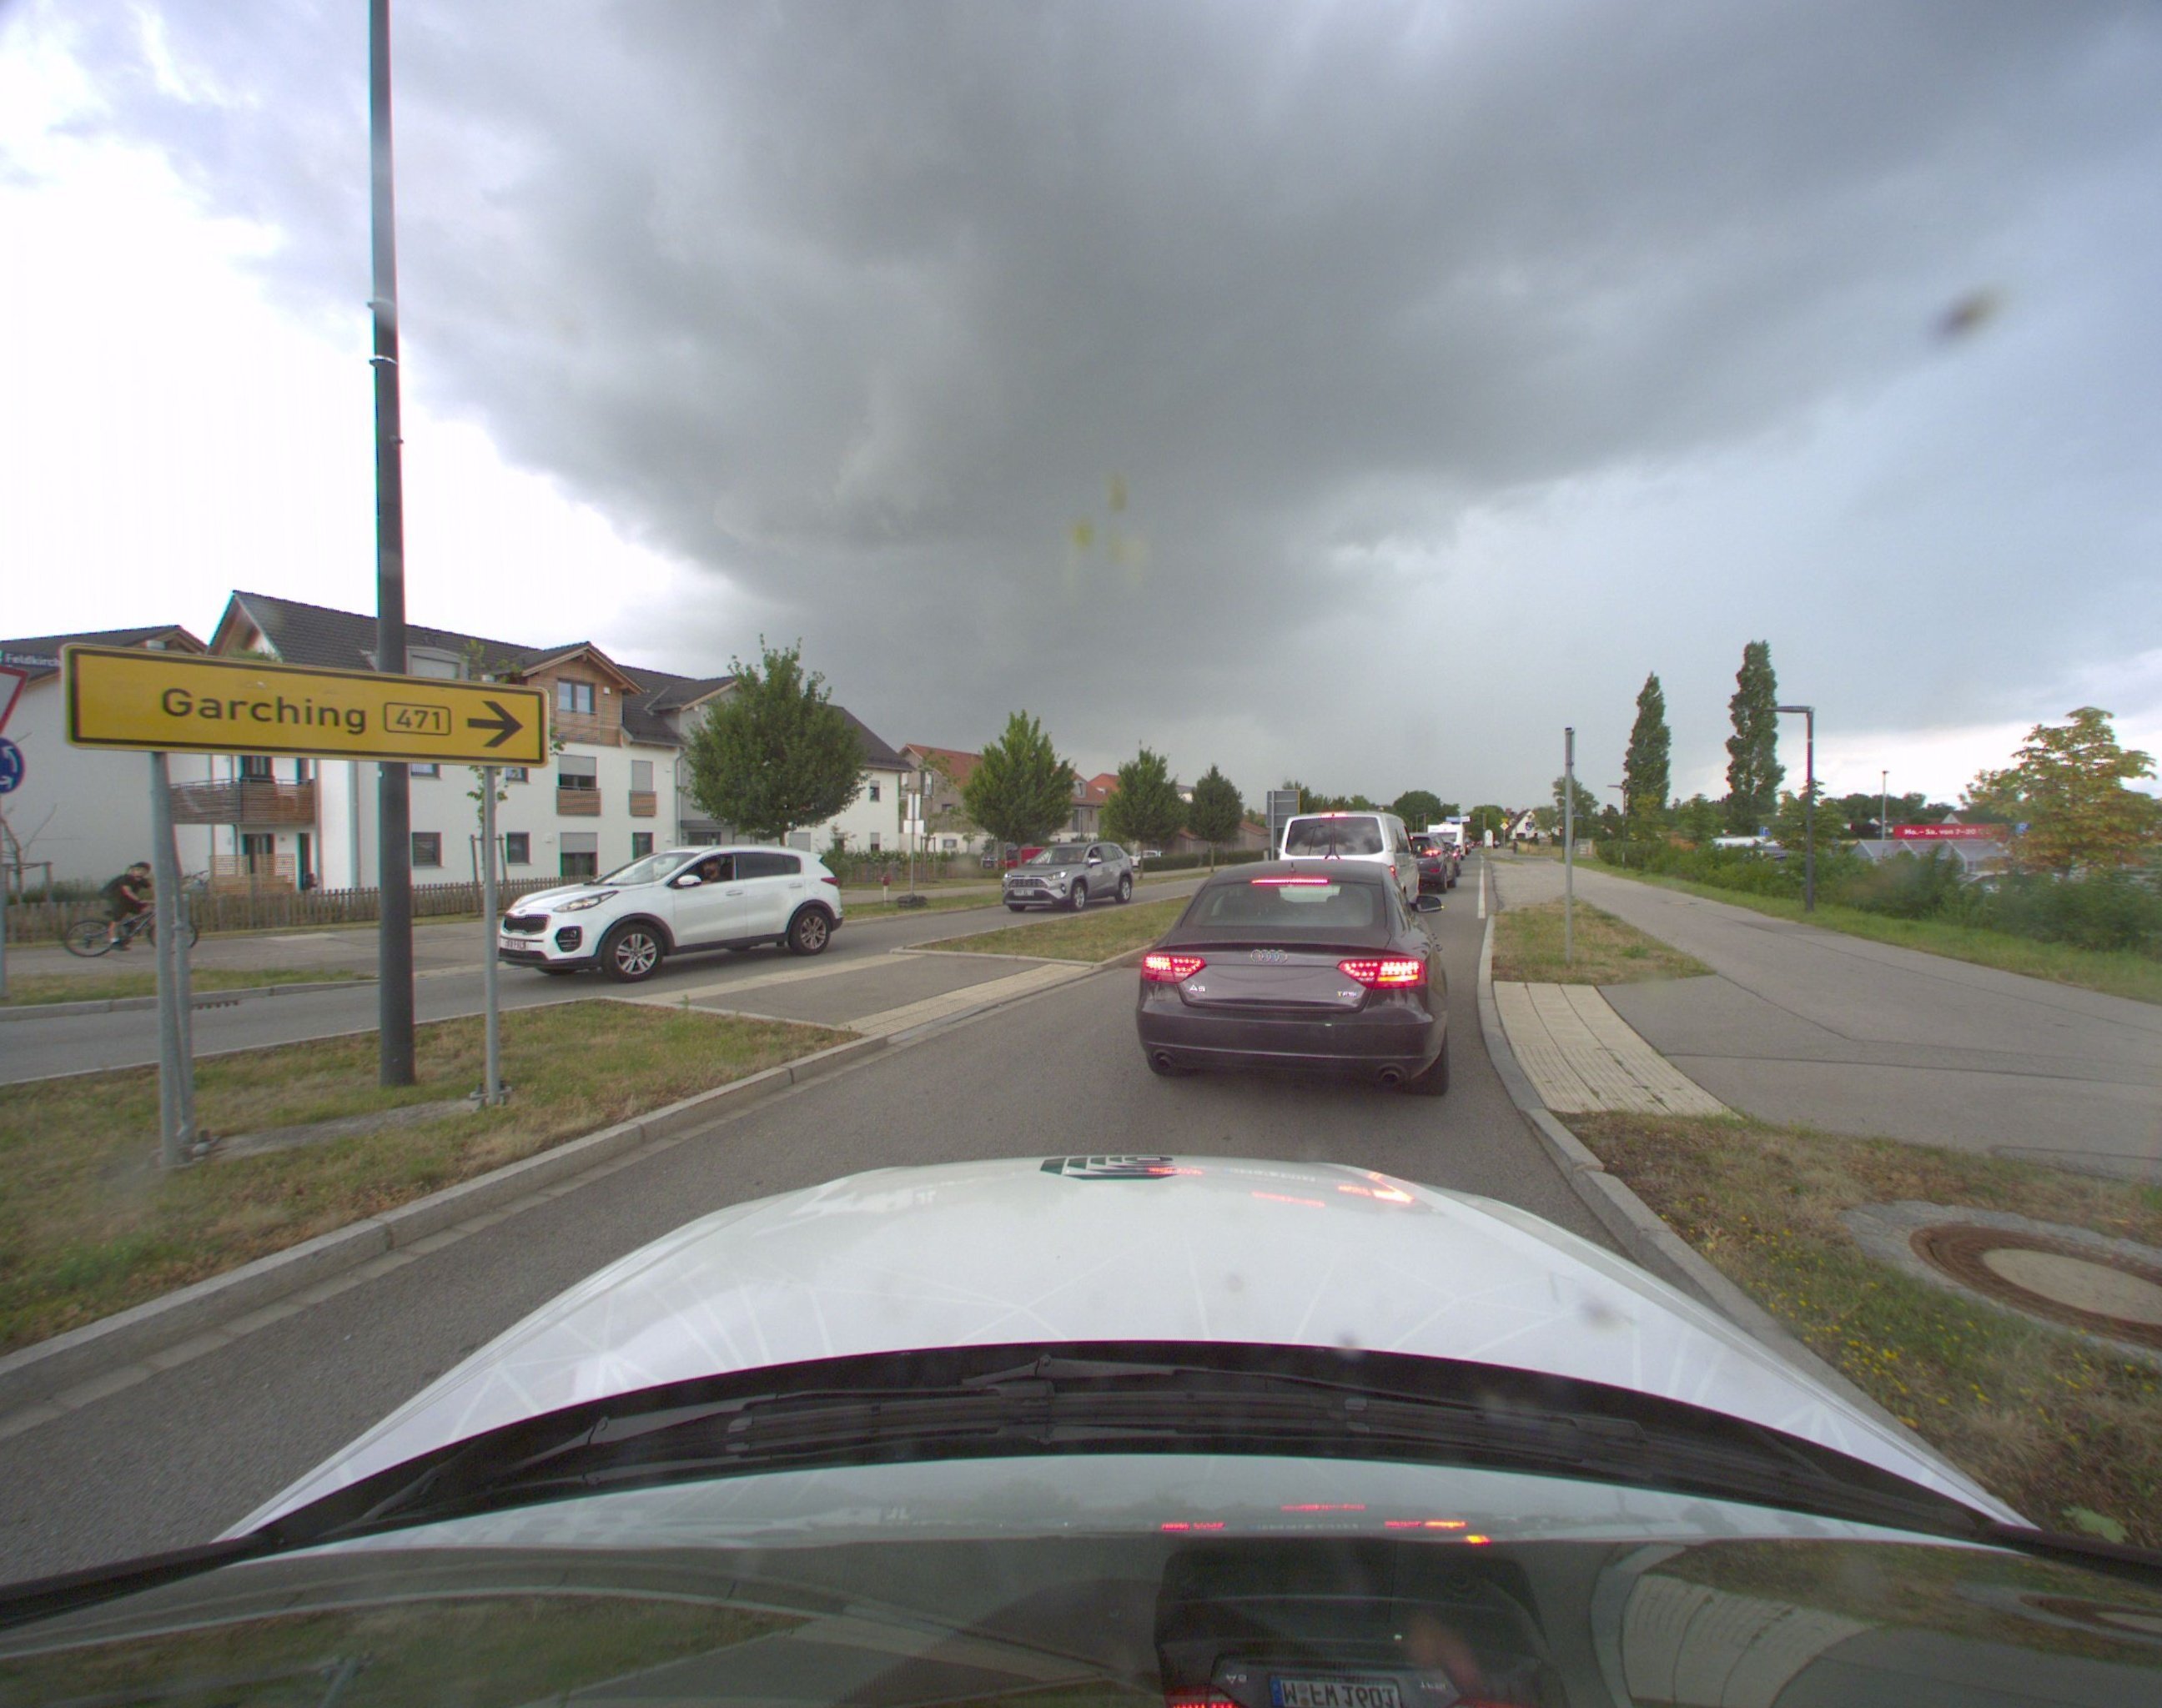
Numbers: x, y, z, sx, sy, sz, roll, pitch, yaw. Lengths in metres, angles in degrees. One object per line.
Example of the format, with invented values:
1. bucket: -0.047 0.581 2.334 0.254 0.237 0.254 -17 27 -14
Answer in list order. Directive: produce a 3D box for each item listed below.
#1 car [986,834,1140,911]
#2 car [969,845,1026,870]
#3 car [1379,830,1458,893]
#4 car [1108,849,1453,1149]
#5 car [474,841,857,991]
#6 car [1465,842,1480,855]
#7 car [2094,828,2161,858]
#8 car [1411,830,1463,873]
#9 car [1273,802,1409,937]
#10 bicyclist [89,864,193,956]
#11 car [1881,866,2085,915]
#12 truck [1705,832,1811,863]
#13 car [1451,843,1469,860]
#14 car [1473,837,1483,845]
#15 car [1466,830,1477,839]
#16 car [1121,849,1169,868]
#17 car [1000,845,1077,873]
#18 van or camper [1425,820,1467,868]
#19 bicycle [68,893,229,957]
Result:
1. car: -0.300 0.399 20.606 1.975 1.704 4.662 -2 0 25
2. car: -6.261 0.230 61.591 1.974 1.772 4.493 0 1 31
3. car: 9.567 0.161 22.906 1.760 1.618 4.024 1 1 27
4. car: 1.799 0.683 6.152 1.768 1.391 4.156 0 1 24
5. car: -5.360 0.649 11.209 1.692 1.626 4.478 0 1 30
6. car: 47.996 -0.691 99.868 1.598 1.630 3.638 0 1 27
7. car: 73.952 -0.772 57.371 1.975 2.013 4.025 3 2 33
8. car: 14.412 -0.093 32.858 1.760 1.618 4.024 -1 0 26
9. car: 4.573 0.189 13.925 1.851 1.934 4.022 0 1 23
10. bicyclist: -15.757 0.917 13.676 0.870 1.446 0.719 -2 0 -22
11. car: 30.307 1.182 27.571 4.193 1.440 2.012 0 1 26
12. truck: 42.659 -0.438 51.445 4.755 1.872 2.011 1 1 22
13. car: 40.280 -0.298 86.469 1.598 1.793 4.024 0 1 27
14. car: 72.869 -2.368 149.540 1.598 1.408 3.638 0 1 27
15. car: 92.889 -4.567 193.796 1.974 2.211 4.025 0 1 31
16. car: 5.350 0.379 68.019 3.696 1.482 1.696 0 1 23
17. car: -2.709 0.295 51.616 4.487 1.680 2.012 0 1 29
18. van or camper: 26.717 -0.706 59.481 2.601 3.323 6.861 0 0 26
19. bicycle: -15.654 1.174 13.720 1.715 0.946 0.494 -2 0 -22
